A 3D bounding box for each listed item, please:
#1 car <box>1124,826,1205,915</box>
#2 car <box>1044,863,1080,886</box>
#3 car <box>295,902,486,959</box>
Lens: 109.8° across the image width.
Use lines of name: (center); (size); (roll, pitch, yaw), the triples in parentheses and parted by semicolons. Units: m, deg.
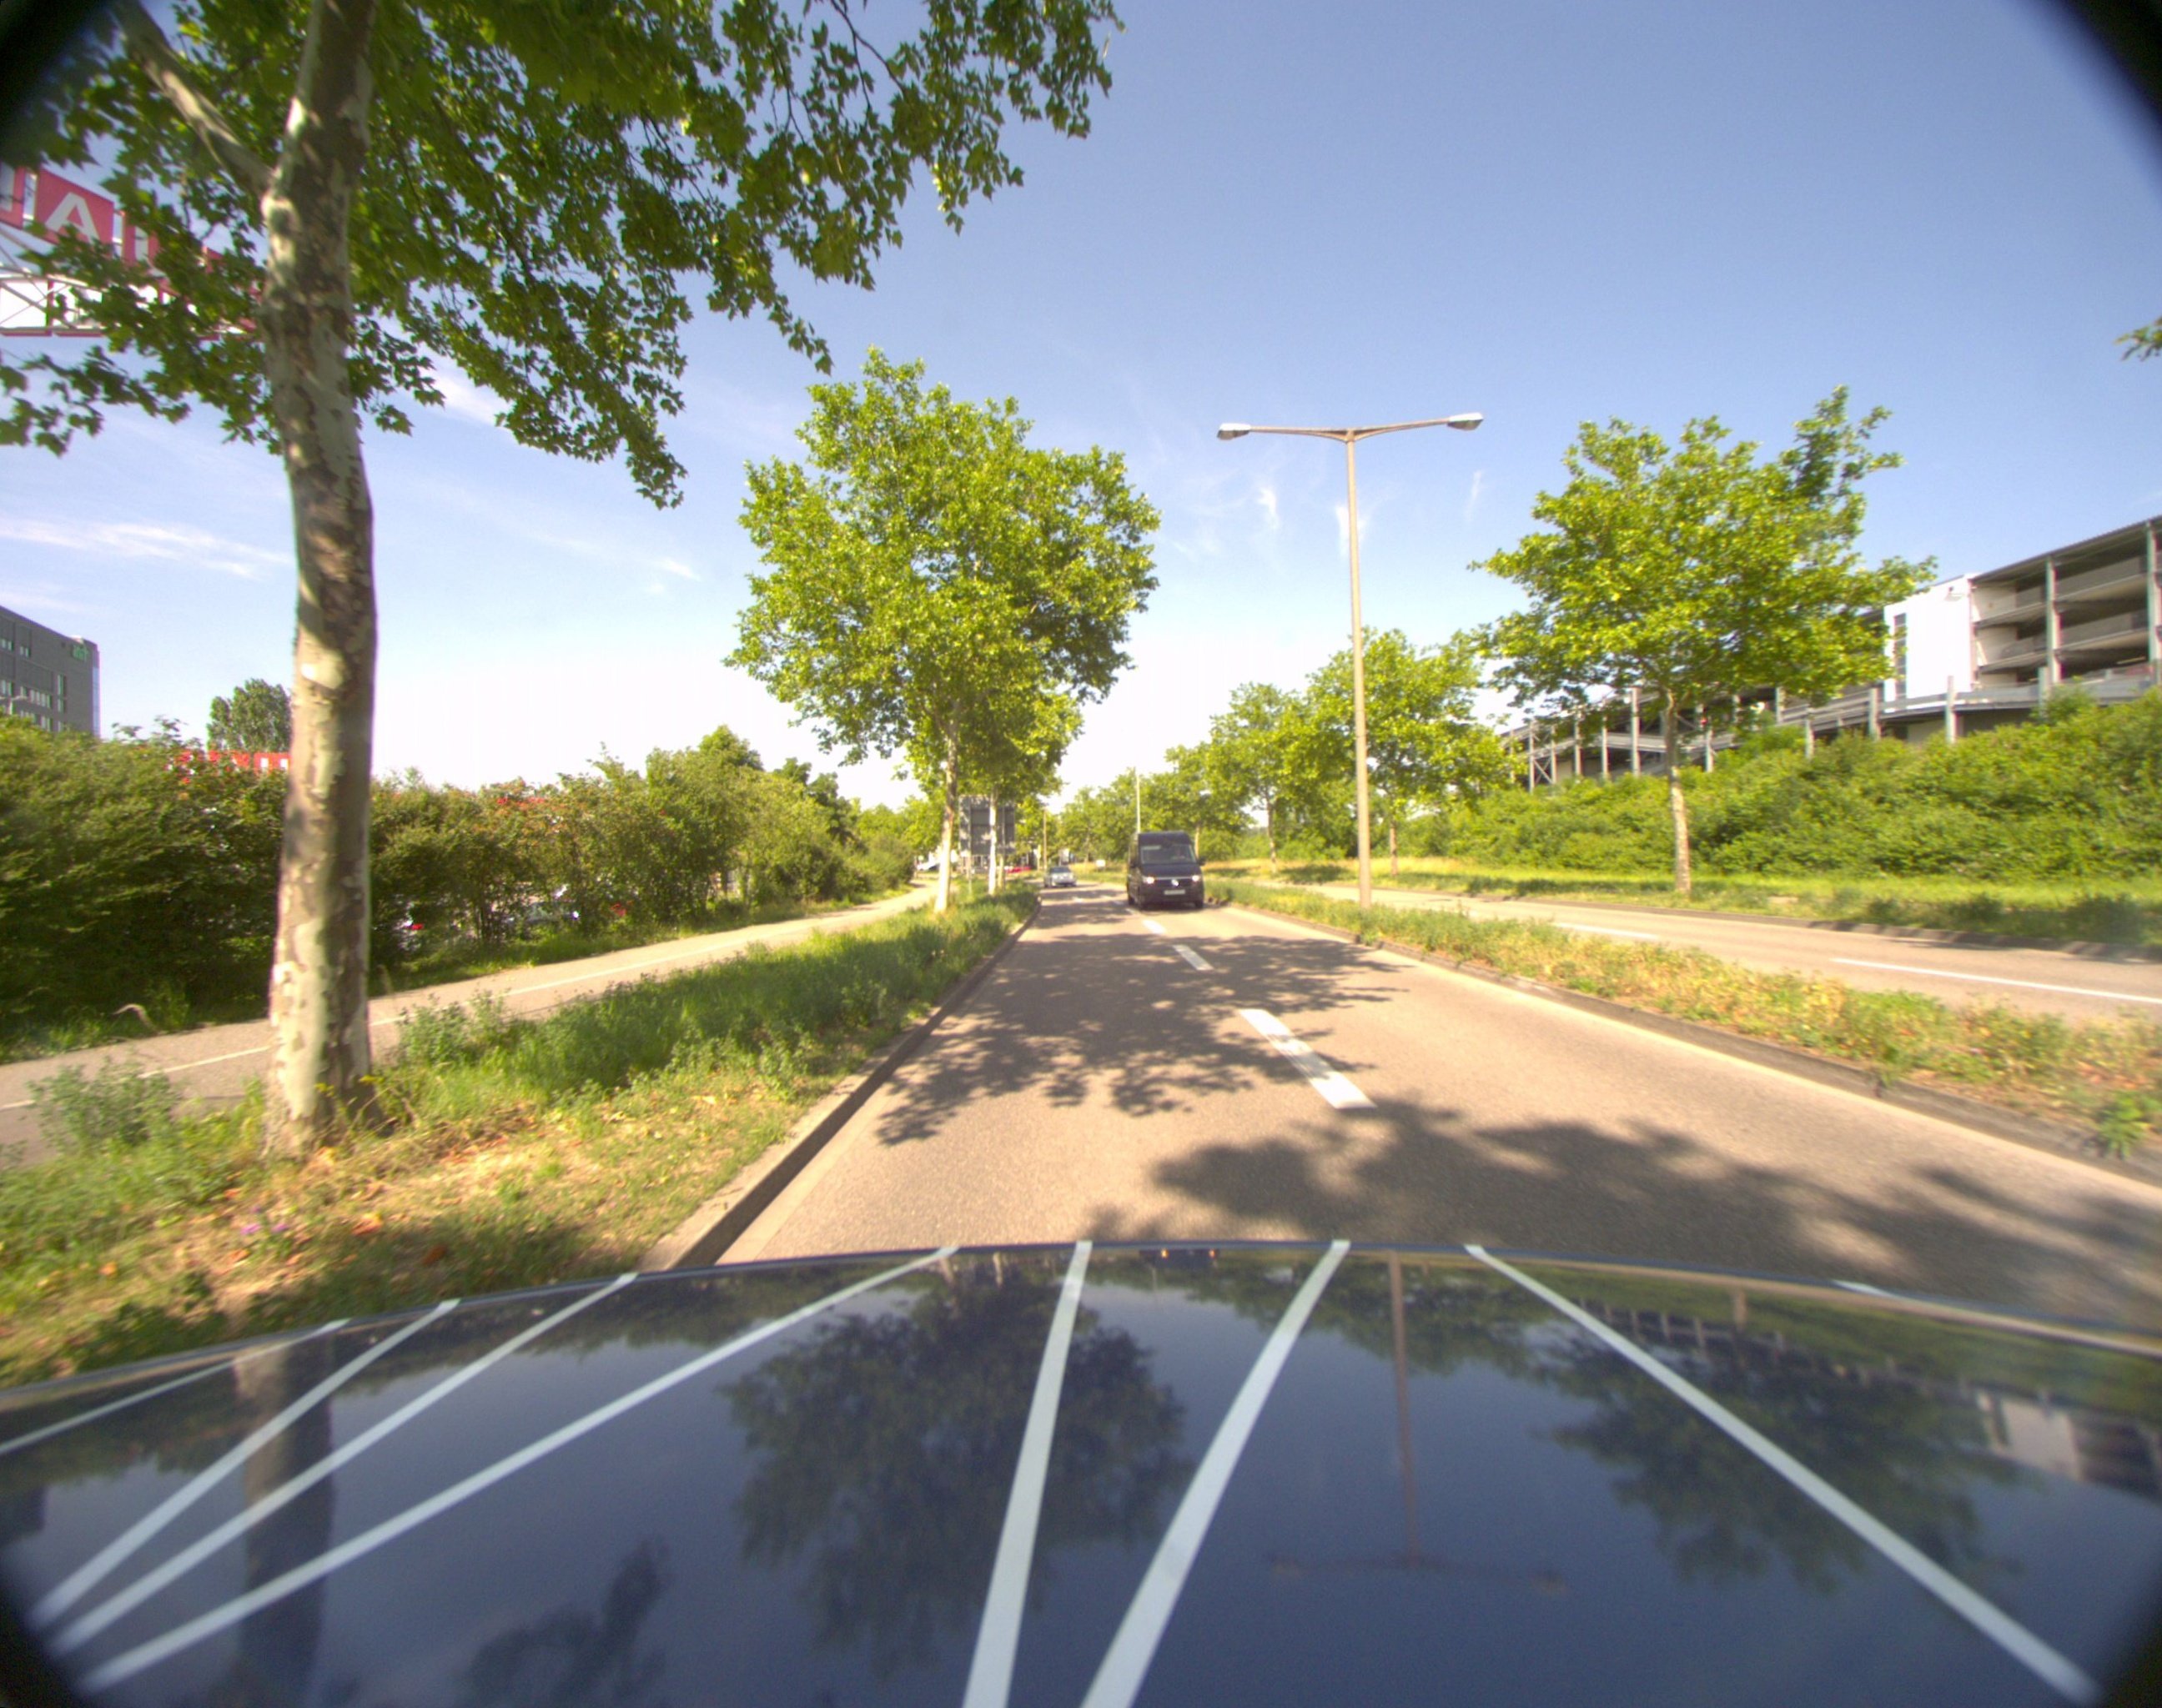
car: (2.690, 0.479, 25.877); (2.021, 2.592, 6.168); (-2, 0, 0)
car: (-1.436, 1.453, 55.281); (1.825, 1.512, 4.204); (-2, 0, -12)
car: (-18.642, 2.042, 20.594); (3.970, 1.217, 1.195); (-3, 0, -1)
